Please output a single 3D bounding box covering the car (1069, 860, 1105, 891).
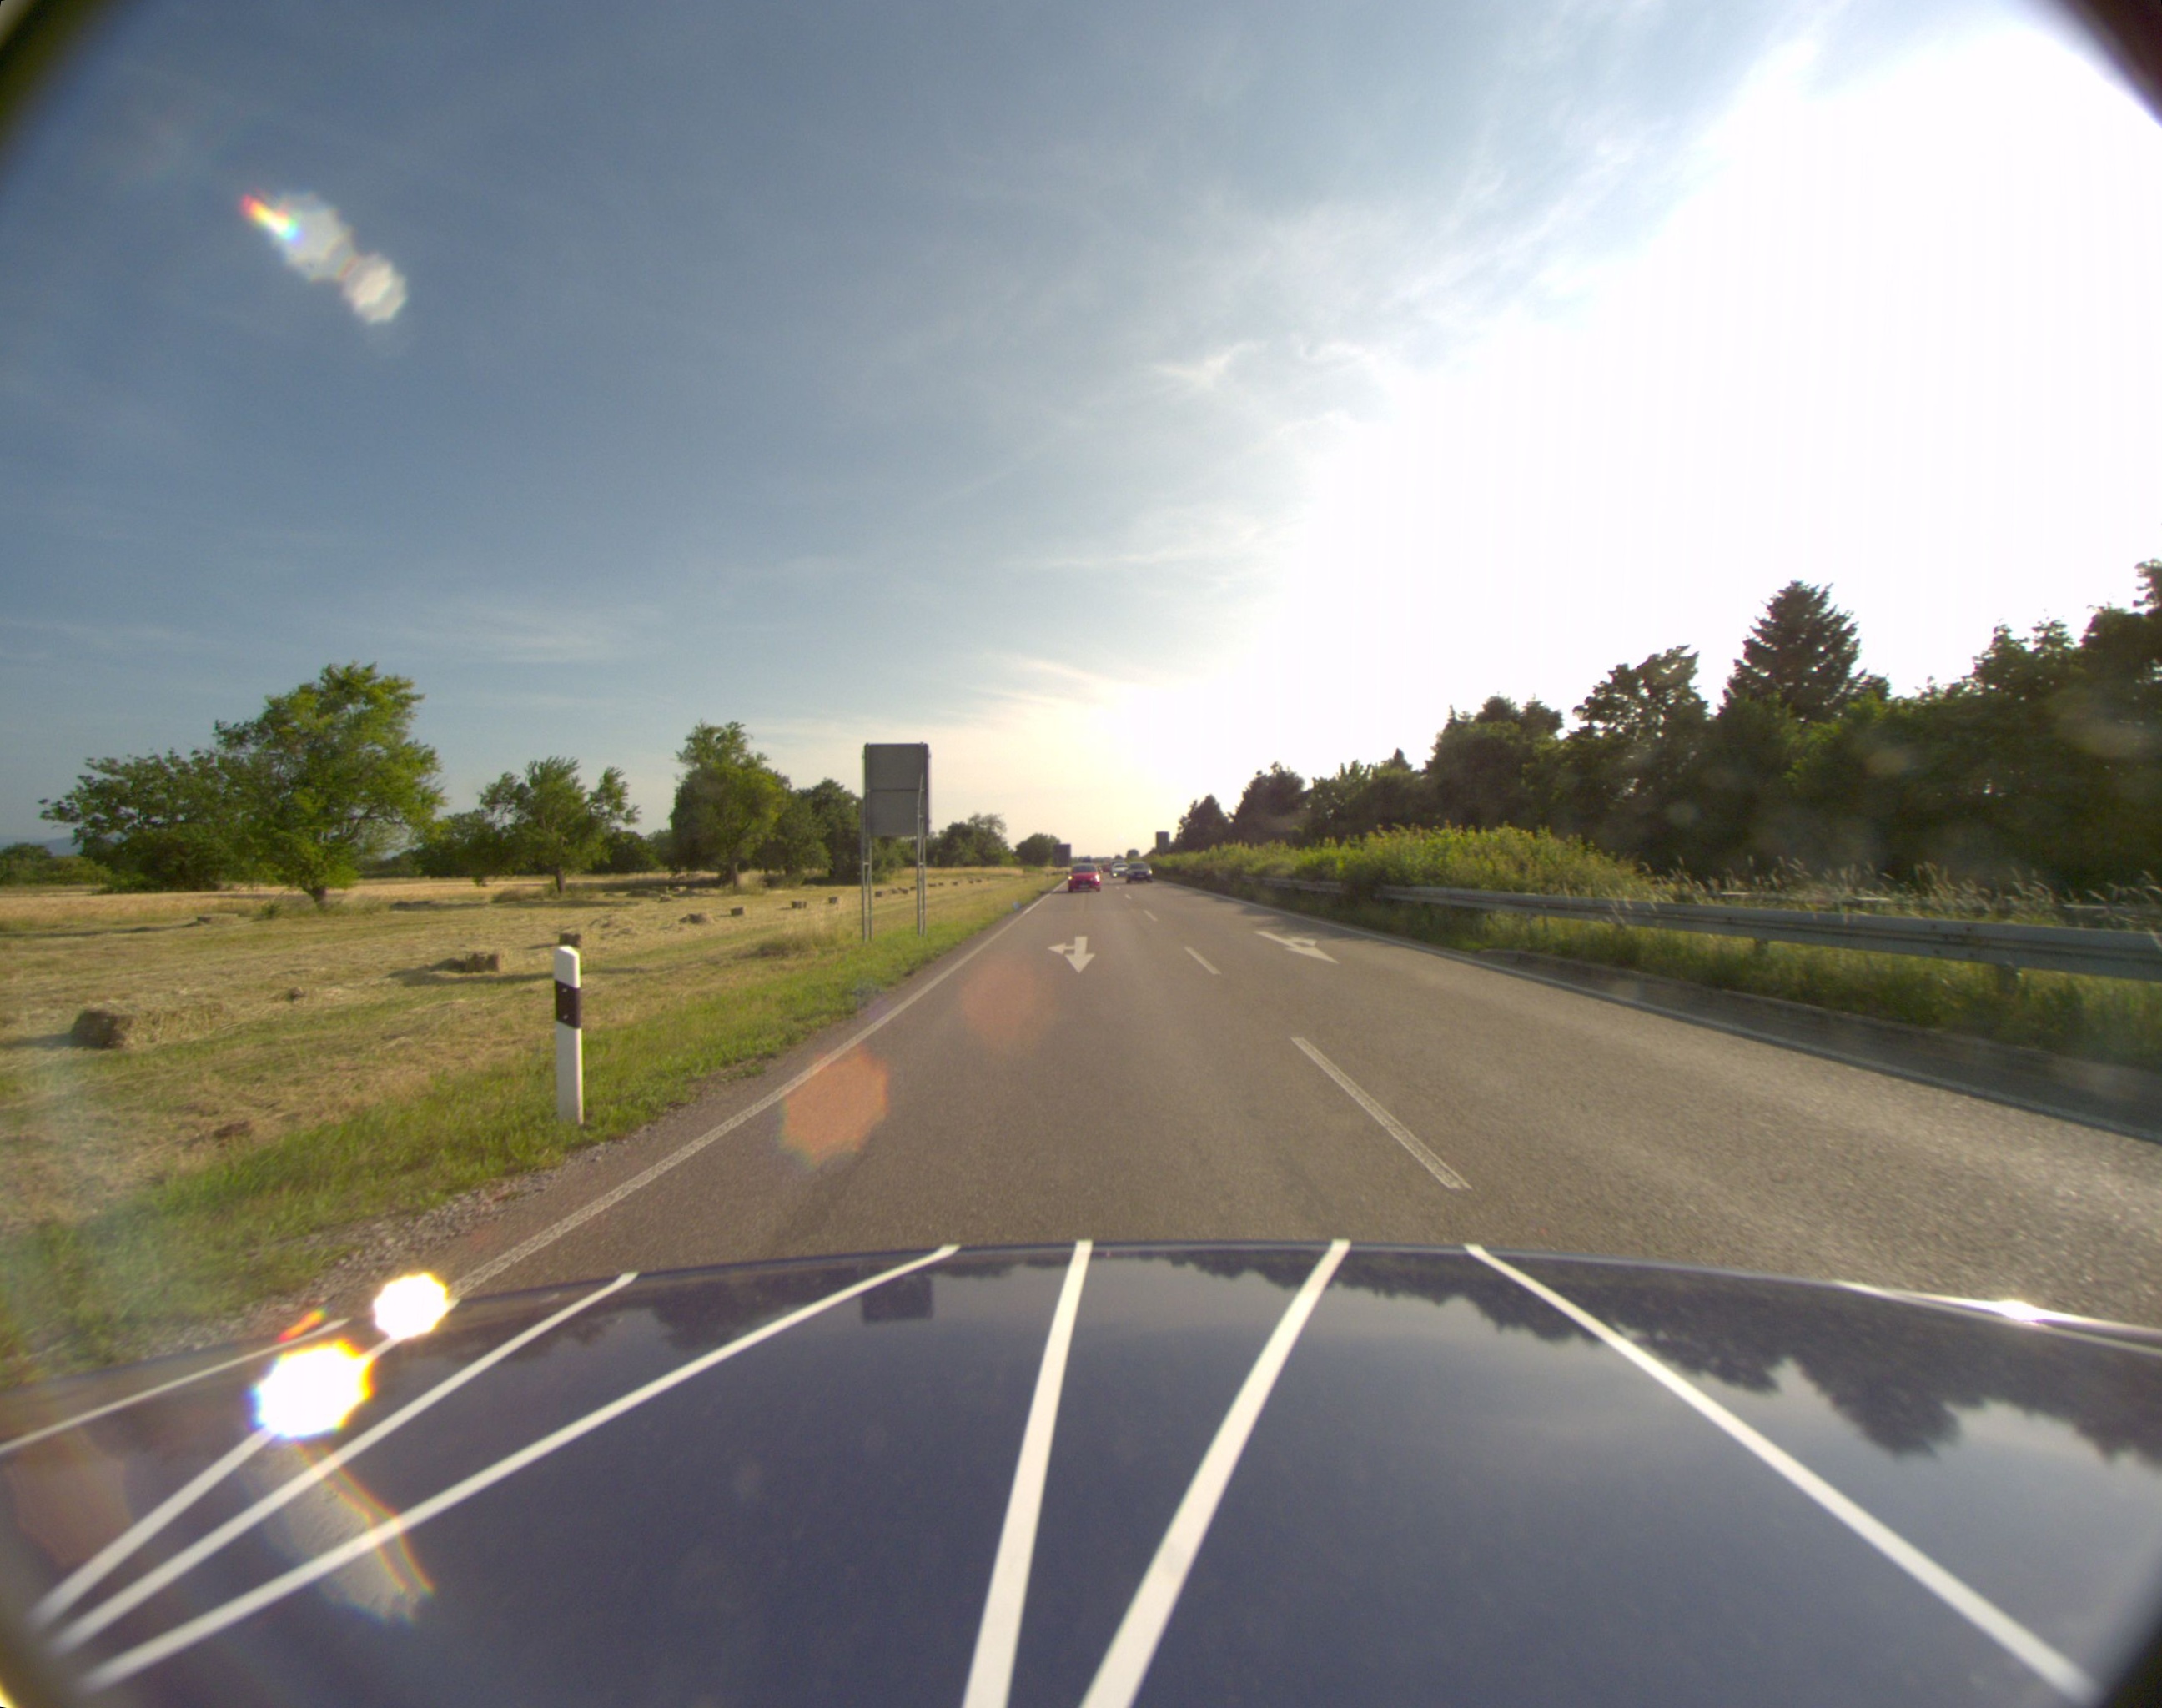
[{"bbox_3d":[0.375,1.143,41.424,1.821,1.564,4.001,-2,-1,2],"label":"car"}]

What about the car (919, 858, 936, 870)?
[{"bbox_3d":[-24.692,1.591,122.348,1.998,1.739,4.000,-2,-1,0],"label":"car"}]

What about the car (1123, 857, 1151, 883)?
[{"bbox_3d":[3.898,1.084,53.529,1.693,1.695,4.001,-2,-1,1],"label":"car"}]

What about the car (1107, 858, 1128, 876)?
[{"bbox_3d":[3.624,1.280,76.173,1.998,1.762,4.001,-2,-1,2],"label":"car"}]

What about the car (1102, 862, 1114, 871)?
[{"bbox_3d":[4.501,2.132,127.873,1.998,1.411,4.001,-2,-1,2],"label":"car"}]
